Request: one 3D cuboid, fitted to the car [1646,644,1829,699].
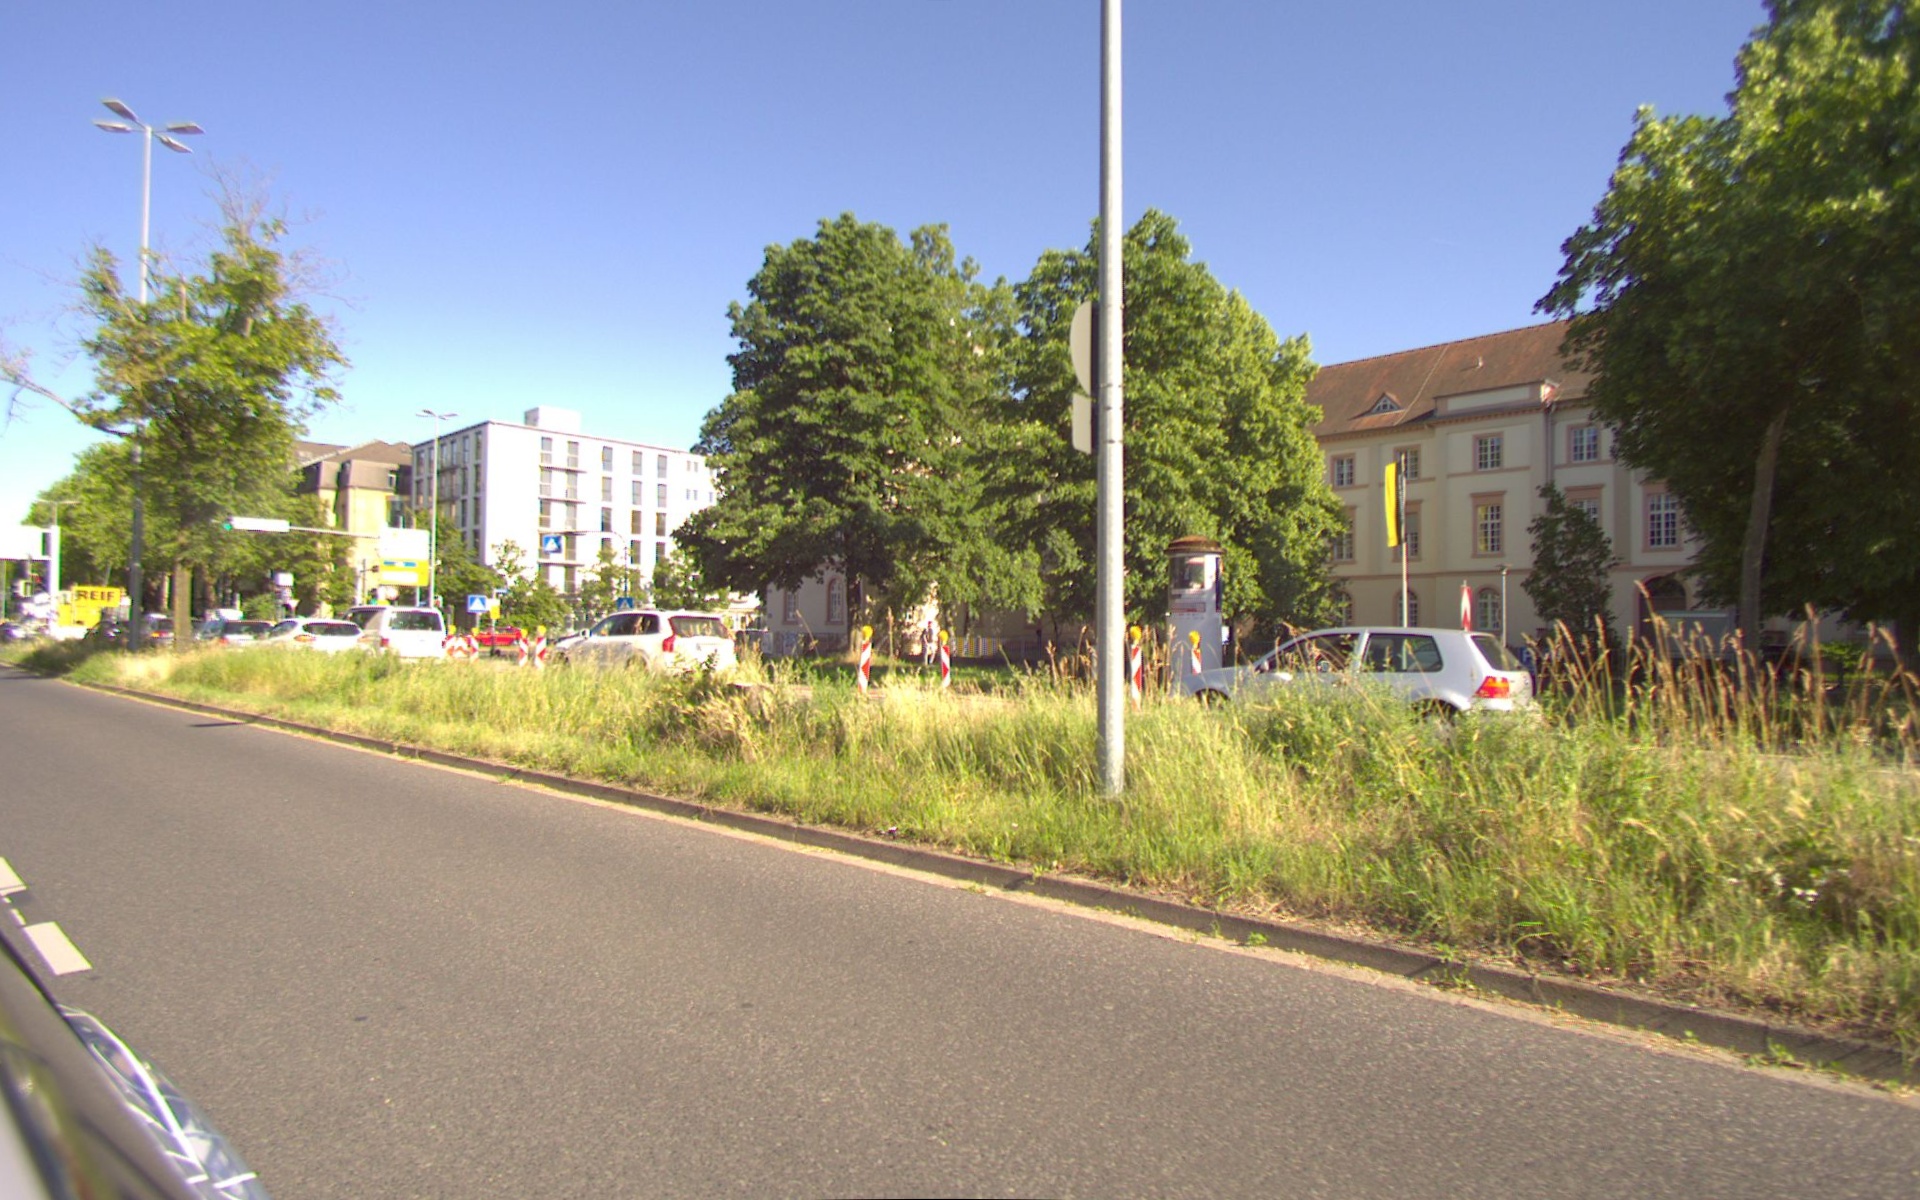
[{"bbox_3d":[20.428,1.830,26.682,1.743,1.333,3.507,2,-3,-39],"label":"car"}]

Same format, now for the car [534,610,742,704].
[{"bbox_3d":[-6.875,1.126,21.299,5.028,1.756,1.777,-1,-2,40],"label":"car"}]

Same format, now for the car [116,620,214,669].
[{"bbox_3d":[-26.915,1.458,34.214,4.344,1.530,1.777,-1,-1,40],"label":"car"}]

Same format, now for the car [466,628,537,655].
[{"bbox_3d":[-30.949,2.766,68.331,3.937,1.630,1.922,1,1,-40],"label":"car"}]

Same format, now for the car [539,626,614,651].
[{"bbox_3d":[-27.461,2.736,72.520,4.637,1.630,1.922,1,1,-40],"label":"car"}]

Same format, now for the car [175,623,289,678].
[{"bbox_3d":[-21.810,1.467,30.272,4.360,1.530,1.777,-2,-1,40],"label":"car"}]

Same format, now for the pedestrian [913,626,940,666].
[{"bbox_3d":[-1.304,1.798,39.745,0.780,1.547,0.733,-1,-3,35],"label":"pedestrian"}]

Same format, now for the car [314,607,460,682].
[{"bbox_3d":[-17.195,1.286,30.282,5.014,2.043,2.210,-1,-2,40],"label":"car"}]

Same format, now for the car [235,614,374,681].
[{"bbox_3d":[-16.371,1.144,25.208,4.202,1.530,1.777,-1,-2,40],"label":"car"}]

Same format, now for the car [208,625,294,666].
[{"bbox_3d":[-27.690,1.735,39.495,4.076,1.530,1.777,-1,-2,40],"label":"car"}]

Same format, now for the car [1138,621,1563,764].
[{"bbox_3d":[4.371,0.940,11.723,4.255,1.362,1.777,-1,-2,40],"label":"car"}]

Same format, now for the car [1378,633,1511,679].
[{"bbox_3d":[19.967,2.266,41.861,4.684,1.503,1.625,3,1,41],"label":"car"}]
